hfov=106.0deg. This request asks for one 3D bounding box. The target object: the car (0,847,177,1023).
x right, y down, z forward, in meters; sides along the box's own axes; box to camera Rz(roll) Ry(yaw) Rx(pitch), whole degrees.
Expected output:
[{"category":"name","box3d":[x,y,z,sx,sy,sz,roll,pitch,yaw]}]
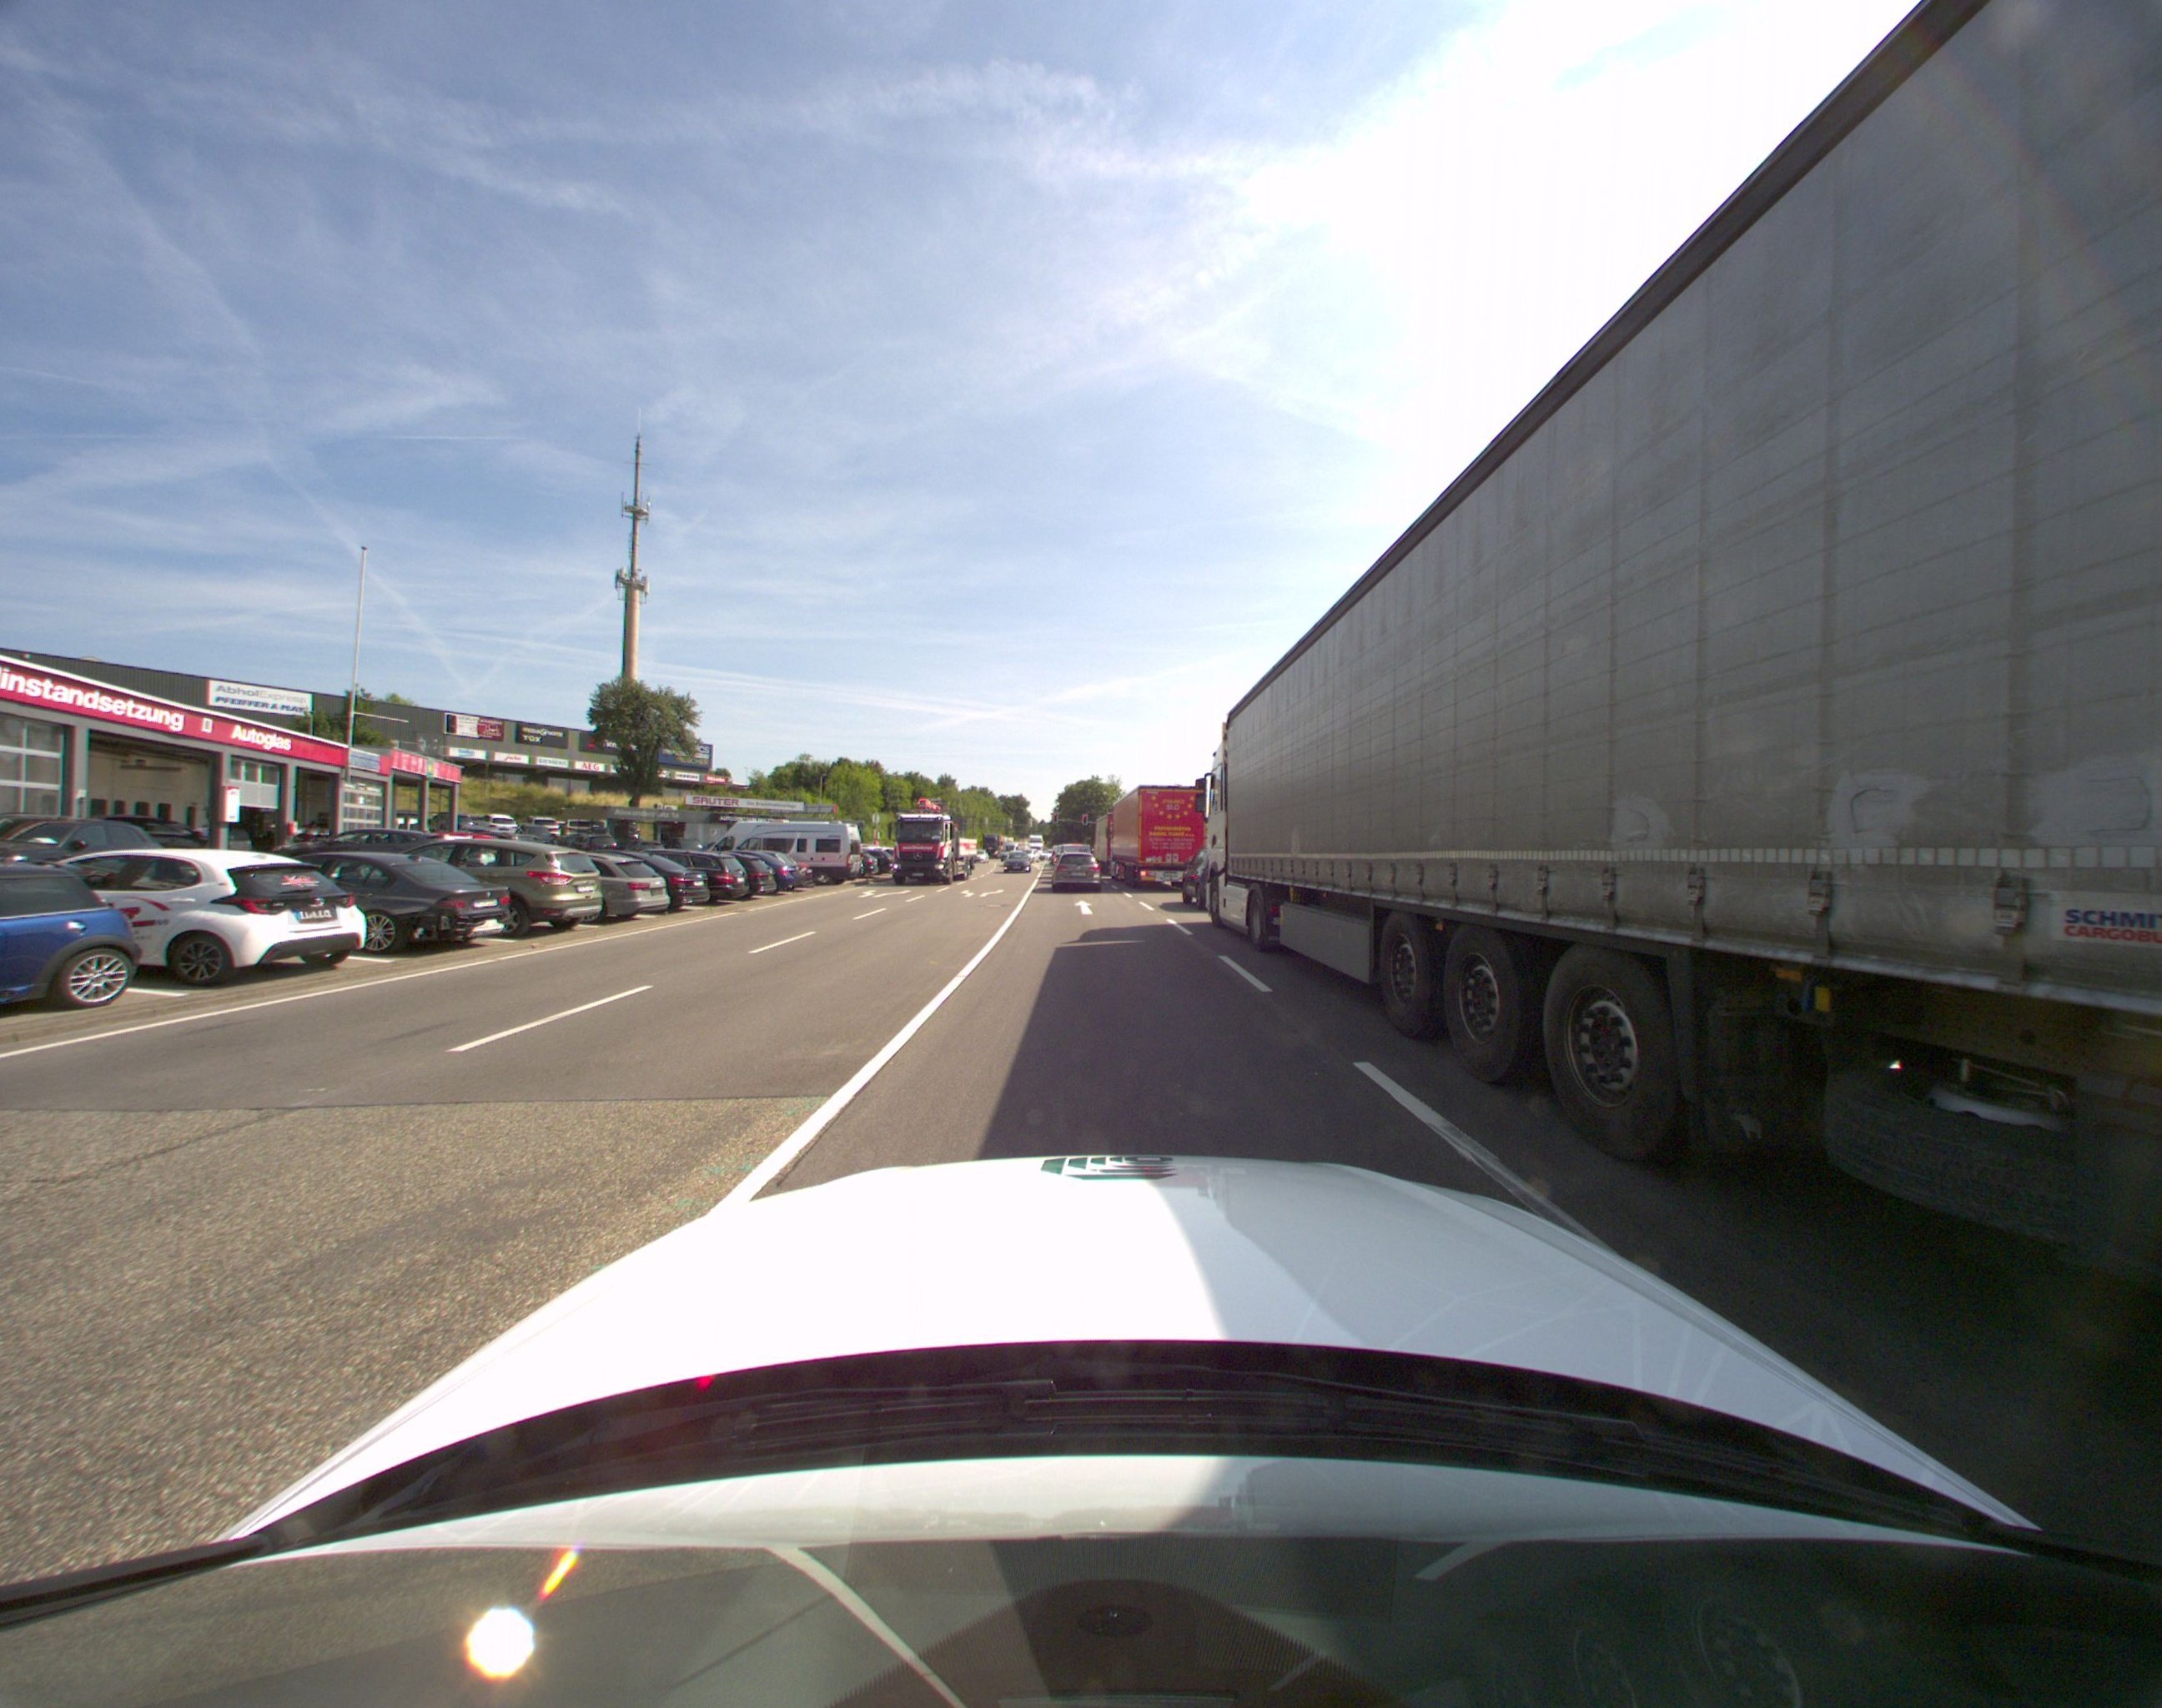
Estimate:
[{"category":"car","box3d":[-10.779,0.743,6.940,1.773,1.494,3.782,4,0,1]}]

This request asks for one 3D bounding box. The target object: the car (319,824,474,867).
[{"category":"car","box3d":[-23.960,-0.281,28.689,3.835,1.431,1.755,0,0,-25]}]

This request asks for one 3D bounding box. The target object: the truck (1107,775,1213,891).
[{"category":"truck","box3d":[3.205,-0.866,38.592,2.949,4.269,16.573,1,0,-2]}]

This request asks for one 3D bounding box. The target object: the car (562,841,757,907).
[{"category":"car","box3d":[-11.796,0.540,23.045,4.449,1.484,1.770,4,0,-4]}]

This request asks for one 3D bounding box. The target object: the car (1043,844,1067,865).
[{"category":"car","box3d":[-1.954,0.027,62.632,1.721,1.519,3.311,1,0,-1]}]

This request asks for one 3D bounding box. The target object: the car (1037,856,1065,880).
[{"category":"car","box3d":[-1.983,0.926,54.489,1.721,1.519,3.312,1,0,1]}]

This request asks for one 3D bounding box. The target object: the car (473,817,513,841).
[{"category":"car","box3d":[-40.107,-1.690,55.548,1.746,1.537,3.704,1,-1,-43]}]

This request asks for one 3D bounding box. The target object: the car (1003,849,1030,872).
[{"category":"car","box3d":[-4.543,0.404,57.240,1.803,1.559,4.379,0,0,-5]}]

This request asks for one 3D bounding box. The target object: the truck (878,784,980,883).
[{"category":"truck","box3d":[-7.190,-0.932,40.294,2.947,4.209,10.644,-2,1,0]}]

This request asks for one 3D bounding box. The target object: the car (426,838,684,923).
[{"category":"car","box3d":[-11.311,0.545,17.760,4.268,1.484,1.834,4,0,-4]}]

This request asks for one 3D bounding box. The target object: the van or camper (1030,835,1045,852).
[{"category":"van or camper","box3d":[-7.314,-1.719,137.234,2.218,2.840,5.706,1,0,-2]}]

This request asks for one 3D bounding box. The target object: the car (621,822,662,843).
[{"category":"car","box3d":[-32.503,-1.532,60.207,1.746,1.450,3.704,1,-1,-43]}]

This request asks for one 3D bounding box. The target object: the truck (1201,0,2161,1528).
[{"category":"truck","box3d":[3.915,-0.712,9.302,2.880,4.266,16.712,0,0,1]}]

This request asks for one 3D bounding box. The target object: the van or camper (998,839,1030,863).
[{"category":"van or camper","box3d":[-8.523,-0.376,104.580,2.191,3.056,5.926,1,0,15]}]

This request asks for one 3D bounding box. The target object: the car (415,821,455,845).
[{"category":"car","box3d":[-42.980,-1.377,54.159,1.746,1.450,3.704,1,-1,-43]}]

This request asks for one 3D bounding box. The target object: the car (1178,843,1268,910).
[{"category":"car","box3d":[3.841,0.546,22.654,1.813,1.685,4.000,0,0,0]}]

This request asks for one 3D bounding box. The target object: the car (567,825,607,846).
[{"category":"car","box3d":[-35.994,-1.326,59.326,1.746,1.450,3.704,1,-1,-43]}]

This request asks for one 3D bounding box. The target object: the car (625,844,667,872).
[{"category":"car","box3d":[-25.652,0.217,47.987,1.776,1.588,3.788,0,0,-35]}]

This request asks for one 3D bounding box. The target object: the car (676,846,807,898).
[{"category":"car","box3d":[-11.527,0.583,27.823,3.699,1.555,1.706,2,2,-4]}]

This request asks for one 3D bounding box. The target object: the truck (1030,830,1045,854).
[{"category":"truck","box3d":[-8.103,-2.230,151.059,2.546,4.307,7.590,-1,0,-2]}]

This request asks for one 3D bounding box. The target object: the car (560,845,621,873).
[{"category":"car","box3d":[-28.207,0.268,46.840,3.780,1.588,1.780,0,0,38]}]

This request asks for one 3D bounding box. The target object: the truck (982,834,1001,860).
[{"category":"truck","box3d":[-13.914,-1.095,127.106,2.809,3.786,6.976,-1,1,-6]}]

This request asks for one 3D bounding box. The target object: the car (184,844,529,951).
[{"category":"car","box3d":[-11.176,0.617,12.811,3.700,1.525,1.790,0,0,-4]}]

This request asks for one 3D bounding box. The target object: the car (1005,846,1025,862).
[{"category":"car","box3d":[-6.560,0.012,80.638,1.906,1.521,4.773,0,0,-5]}]

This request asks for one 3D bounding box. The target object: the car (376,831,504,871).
[{"category":"car","box3d":[-26.458,-0.143,33.771,3.835,1.588,1.755,0,0,-25]}]

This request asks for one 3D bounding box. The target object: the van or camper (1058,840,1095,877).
[{"category":"van or camper","box3d":[-0.283,0.227,44.634,1.848,1.905,3.781,1,0,-2]}]

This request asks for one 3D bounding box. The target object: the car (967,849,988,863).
[{"category":"car","box3d":[-11.483,0.195,90.395,1.831,1.448,4.080,0,0,0]}]

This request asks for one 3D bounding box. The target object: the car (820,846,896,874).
[{"category":"car","box3d":[-12.533,0.346,45.956,3.807,1.539,1.841,0,0,-3]}]

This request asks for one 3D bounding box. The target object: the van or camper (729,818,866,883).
[{"category":"van or camper","box3d":[-12.414,-0.157,35.901,5.229,2.731,2.210,1,0,-1]}]

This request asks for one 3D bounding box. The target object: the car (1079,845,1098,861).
[{"category":"car","box3d":[0.768,-0.088,83.734,1.722,1.519,3.309,1,0,-2]}]

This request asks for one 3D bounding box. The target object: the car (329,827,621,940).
[{"category":"car","box3d":[-11.097,0.518,15.155,3.877,1.716,1.804,4,0,-4]}]

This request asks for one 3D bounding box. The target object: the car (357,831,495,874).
[{"category":"car","box3d":[-25.190,-0.078,31.500,3.835,1.588,1.755,0,0,-25]}]

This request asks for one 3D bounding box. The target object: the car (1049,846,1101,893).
[{"category":"car","box3d":[-0.172,0.529,30.194,1.783,1.638,3.505,0,0,2]}]

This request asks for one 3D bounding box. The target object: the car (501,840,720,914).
[{"category":"car","box3d":[-11.660,0.540,20.409,4.289,1.484,1.796,4,0,-4]}]

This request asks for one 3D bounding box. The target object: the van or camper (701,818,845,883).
[{"category":"van or camper","box3d":[-14.344,-0.177,38.217,5.876,2.873,2.288,1,1,-2]}]

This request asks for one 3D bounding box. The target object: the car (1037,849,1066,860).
[{"category":"car","box3d":[-4.110,0.067,113.628,1.695,1.448,4.107,0,0,39]}]

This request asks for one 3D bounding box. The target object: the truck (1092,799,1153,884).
[{"category":"truck","box3d":[2.708,-0.868,59.035,3.054,5.220,16.996,1,0,-2]}]

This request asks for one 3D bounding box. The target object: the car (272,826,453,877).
[{"category":"car","box3d":[-22.625,-0.081,25.856,3.957,1.532,1.755,0,0,-25]}]

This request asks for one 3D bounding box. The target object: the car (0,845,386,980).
[{"category":"car","box3d":[-11.440,0.652,10.188,3.787,1.525,1.844,0,0,-4]}]

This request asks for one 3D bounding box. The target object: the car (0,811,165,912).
[{"category":"car","box3d":[-19.964,0.083,15.475,1.831,1.675,4.092,6,-3,-26]}]

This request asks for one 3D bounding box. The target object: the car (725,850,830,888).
[{"category":"car","box3d":[-12.379,0.589,33.343,3.583,1.480,1.811,0,0,-1]}]

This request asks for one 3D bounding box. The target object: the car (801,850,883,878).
[{"category":"car","box3d":[-12.621,0.513,43.105,3.807,1.448,1.841,0,0,-3]}]

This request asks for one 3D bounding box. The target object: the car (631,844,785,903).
[{"category":"car","box3d":[-11.441,0.584,25.209,3.836,1.484,1.800,4,0,-4]}]

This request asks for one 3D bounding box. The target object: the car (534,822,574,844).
[{"category":"car","box3d":[-37.469,-1.486,57.886,1.746,1.450,3.704,1,-1,-43]}]

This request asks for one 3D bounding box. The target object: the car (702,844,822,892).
[{"category":"car","box3d":[-11.831,0.506,30.355,3.700,1.484,1.706,4,0,-4]}]

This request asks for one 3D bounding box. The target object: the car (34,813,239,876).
[{"category":"car","box3d":[-27.435,-0.269,23.889,1.908,1.672,3.997,0,0,-13]}]

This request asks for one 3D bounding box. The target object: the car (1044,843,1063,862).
[{"category":"car","box3d":[-2.841,-0.113,85.434,1.720,1.909,3.313,1,0,1]}]
